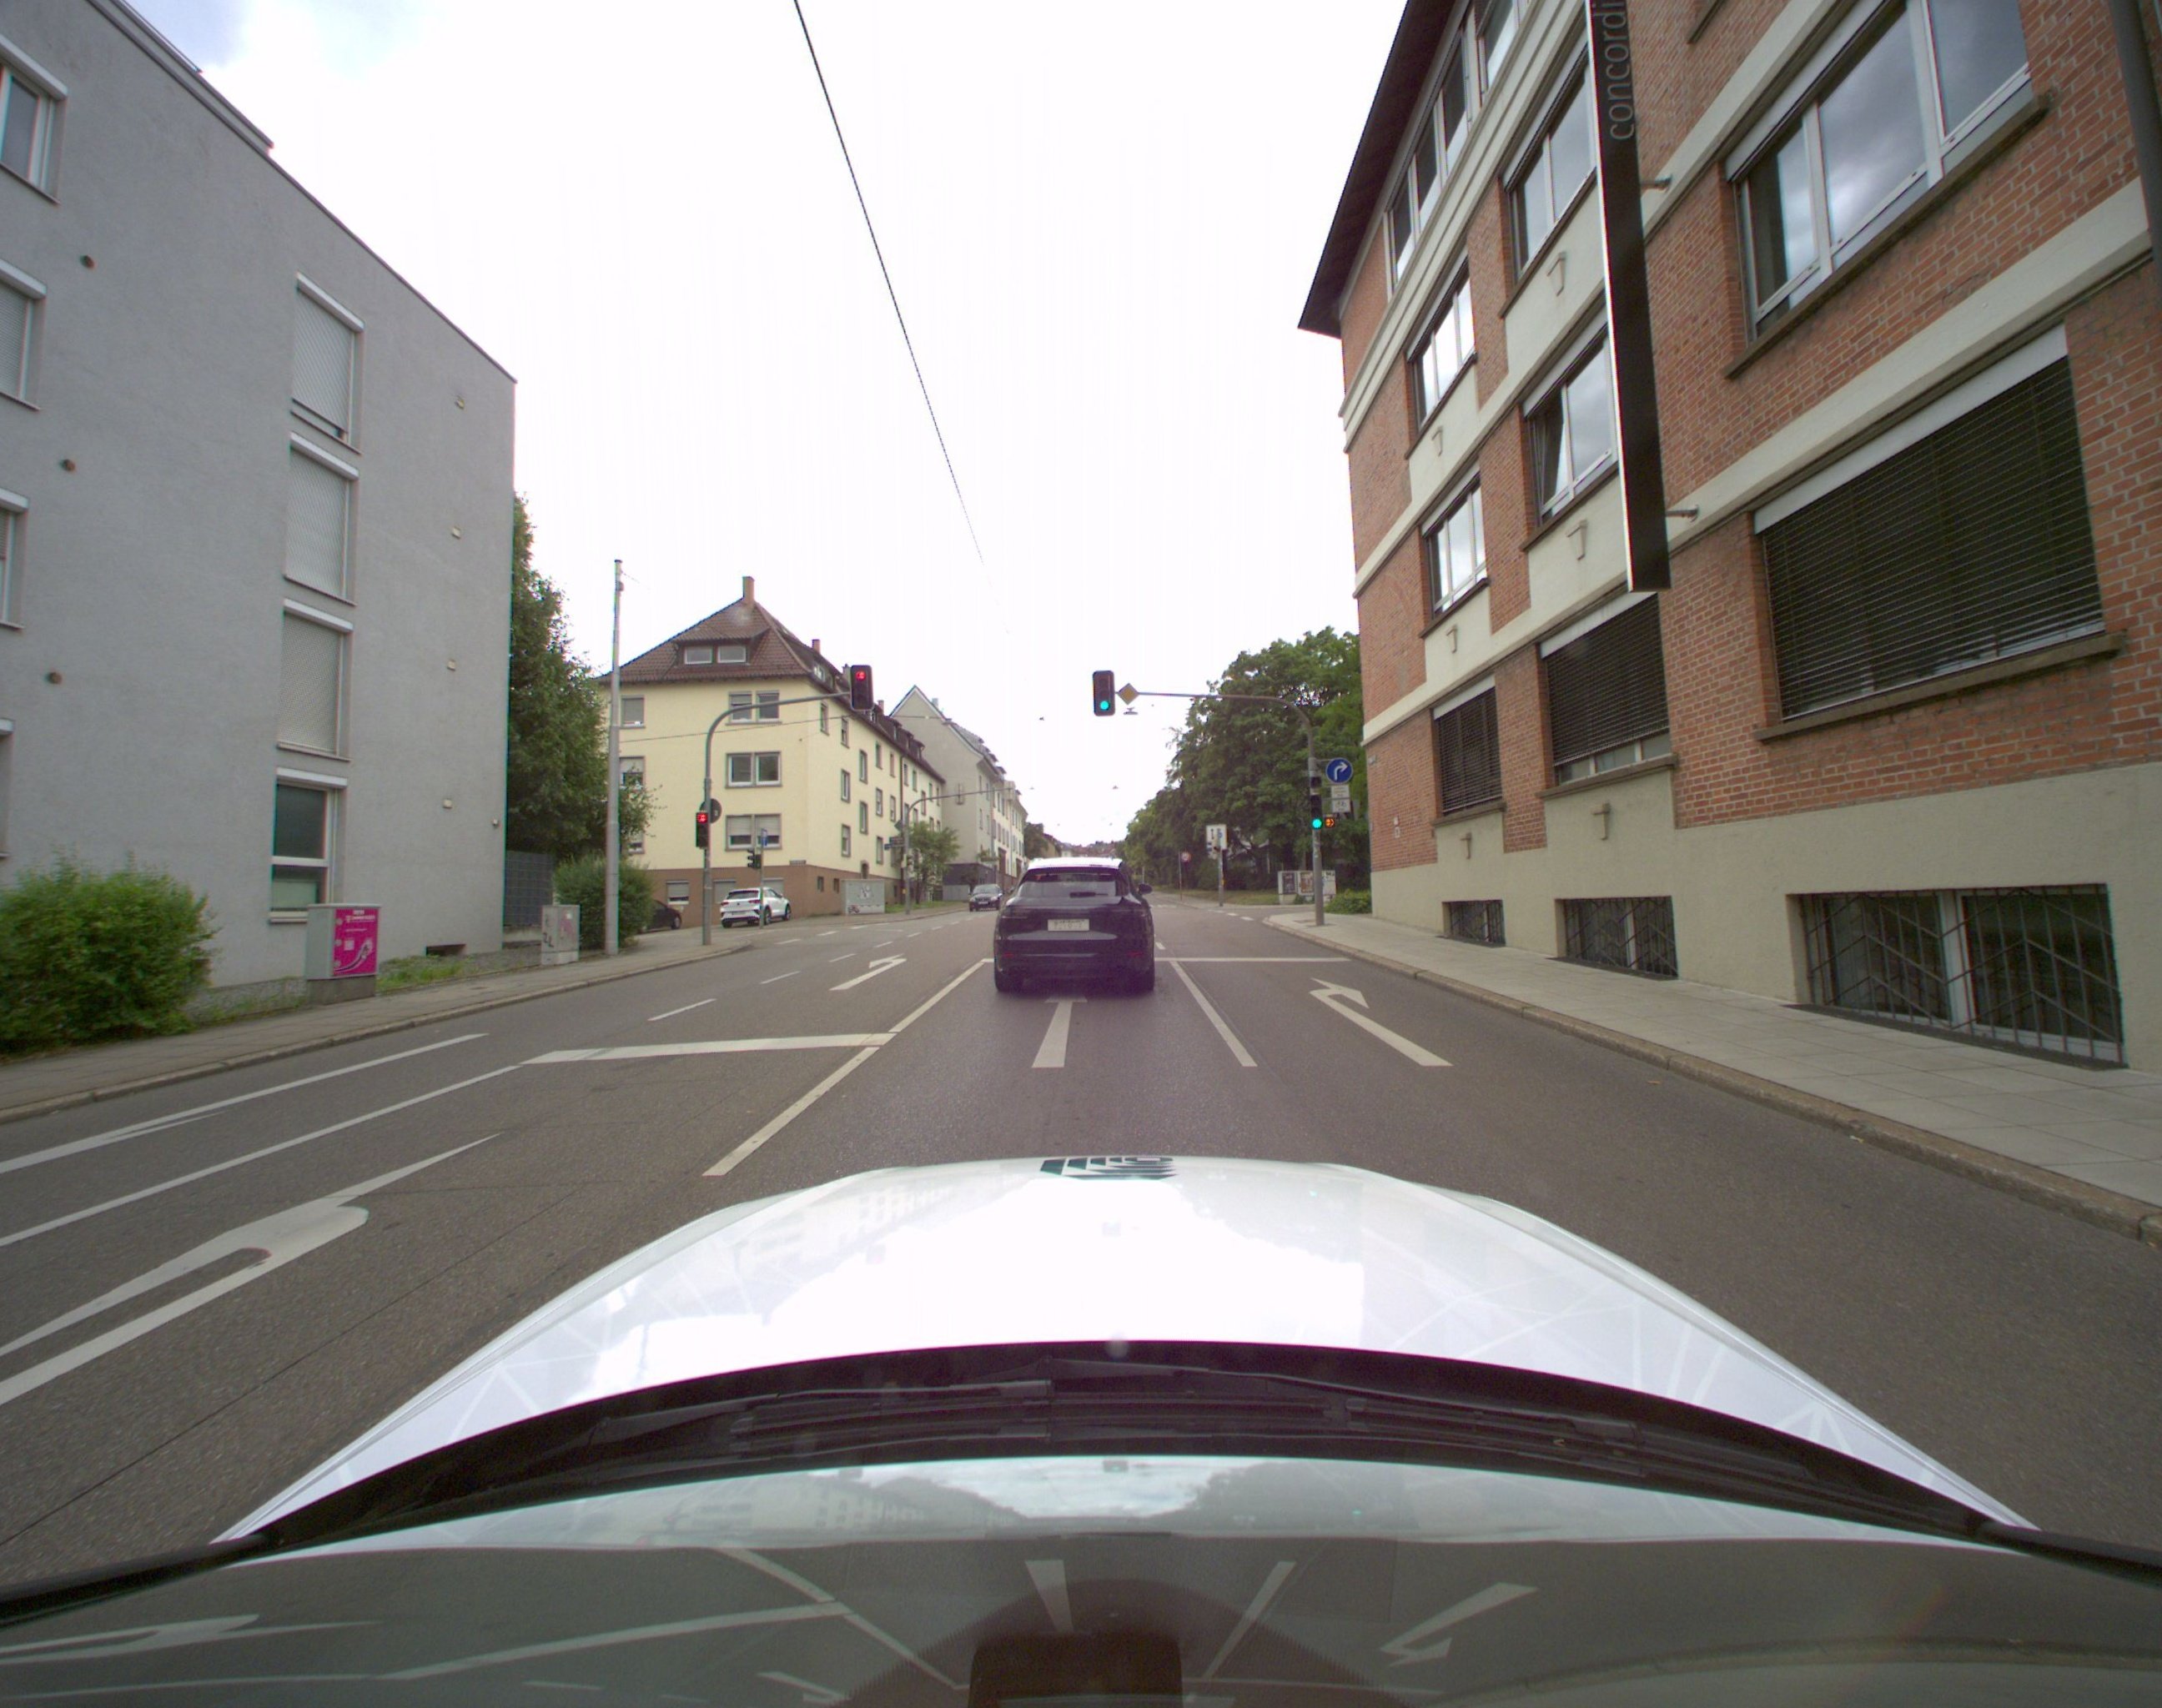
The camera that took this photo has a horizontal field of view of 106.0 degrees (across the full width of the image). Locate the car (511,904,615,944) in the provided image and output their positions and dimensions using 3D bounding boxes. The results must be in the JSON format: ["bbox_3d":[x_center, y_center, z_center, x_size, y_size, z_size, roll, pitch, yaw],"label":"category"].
[{"bbox_3d":[-21.273,2.850,33.649,1.663,1.362,4.001,-1,-1,2],"label":"car"}]

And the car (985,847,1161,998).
[{"bbox_3d":[-0.032,0.818,11.233,1.986,1.697,4.001,0,-1,2],"label":"car"}]

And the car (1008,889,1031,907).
[{"bbox_3d":[-5.239,3.765,69.551,1.665,1.362,3.998,-1,-1,-1],"label":"car"}]

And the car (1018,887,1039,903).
[{"bbox_3d":[-4.941,3.863,77.035,1.664,1.362,3.999,-1,-1,0],"label":"car"}]

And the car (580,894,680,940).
[{"bbox_3d":[-18.588,2.563,33.753,1.664,1.546,4.102,-4,-1,2],"label":"car"}]

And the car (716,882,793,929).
[{"bbox_3d":[-13.545,2.101,34.064,1.666,1.662,3.995,-4,-1,-3],"label":"car"}]

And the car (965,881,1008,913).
[{"bbox_3d":[-5.214,2.340,45.194,1.657,1.519,3.741,-5,-2,2],"label":"car"}]
